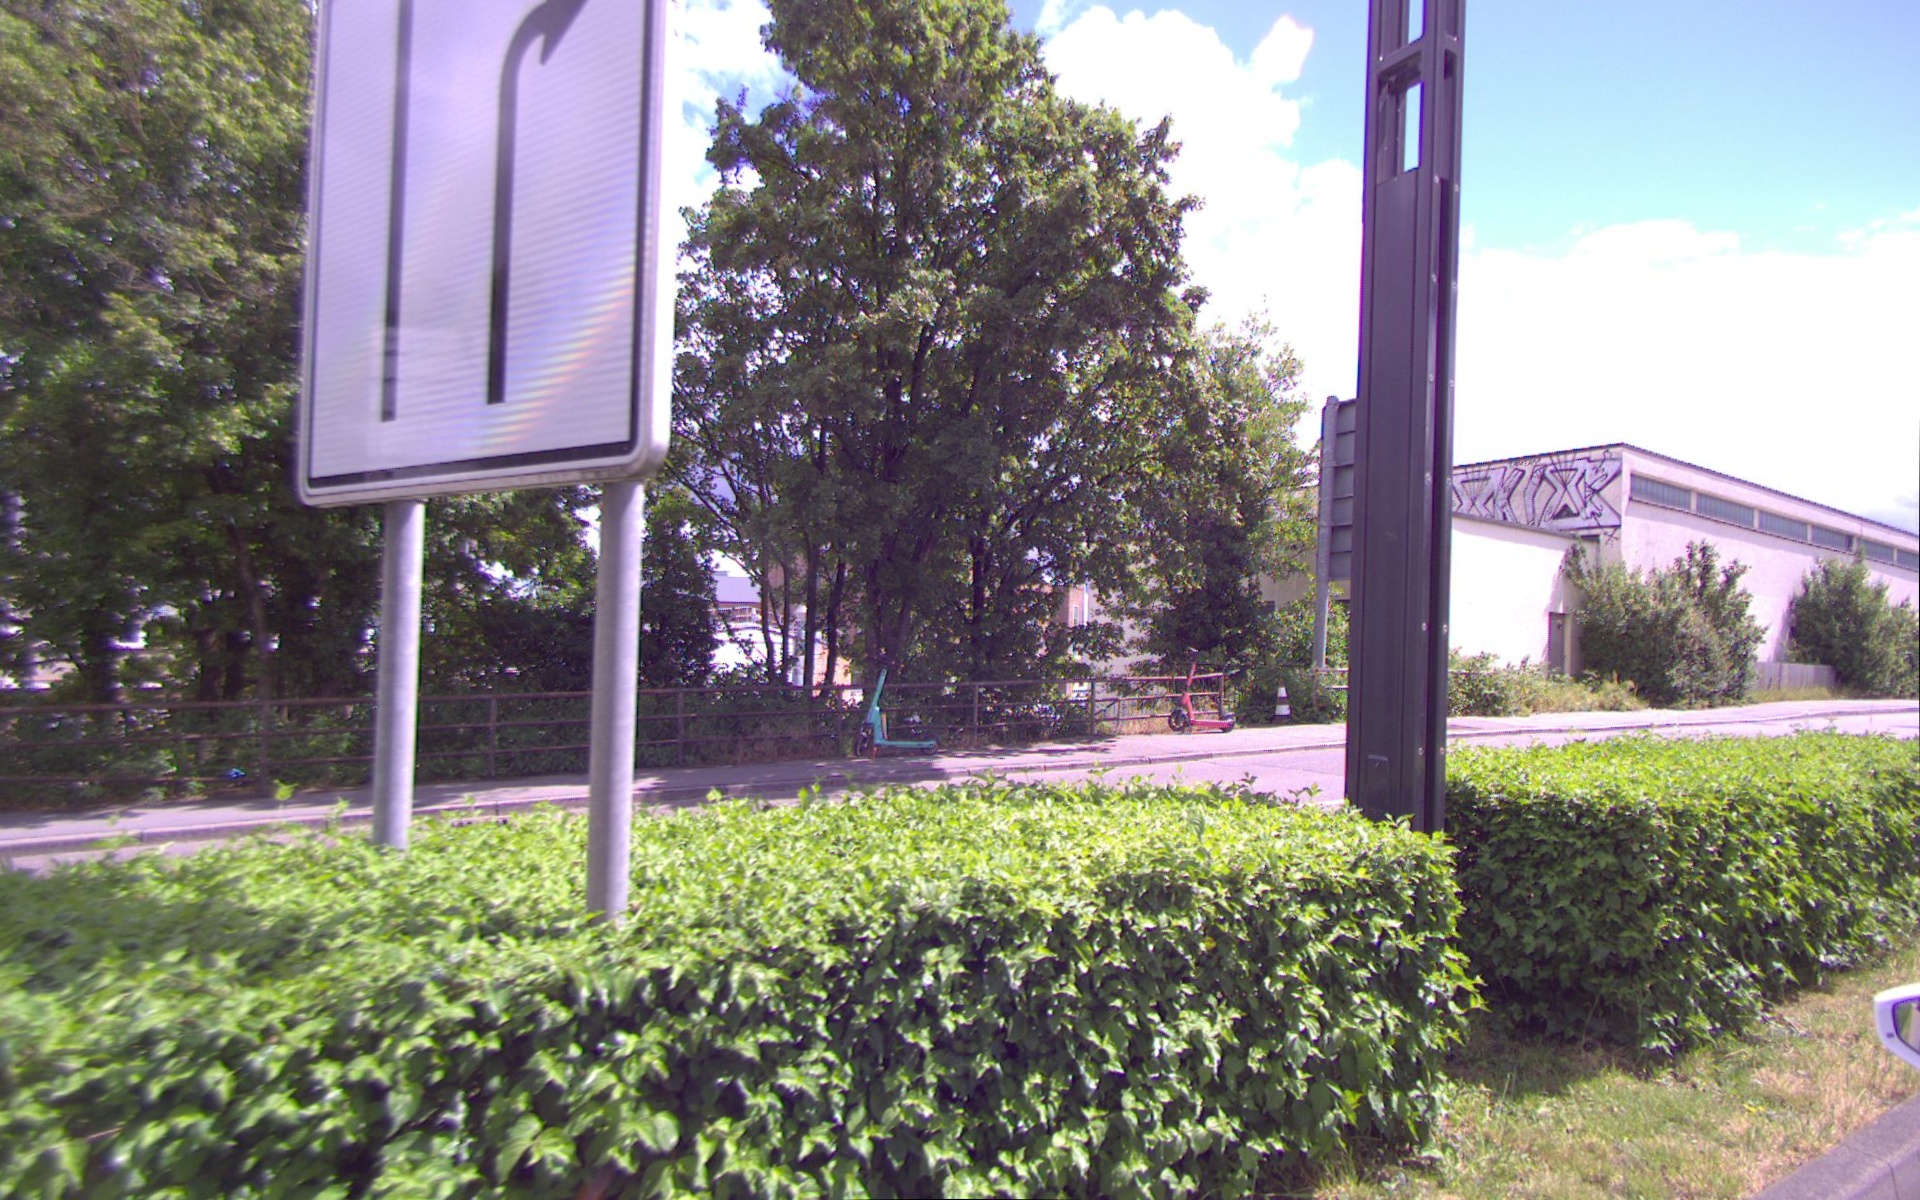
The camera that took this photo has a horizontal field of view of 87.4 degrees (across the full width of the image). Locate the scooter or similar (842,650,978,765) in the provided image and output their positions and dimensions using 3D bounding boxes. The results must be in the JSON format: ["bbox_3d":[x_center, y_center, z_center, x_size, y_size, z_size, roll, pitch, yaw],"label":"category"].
[{"bbox_3d":[-0.606,1.288,12.408,1.622,1.322,0.489,1,0,-28],"label":"scooter or similar"}]

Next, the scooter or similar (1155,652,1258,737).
[{"bbox_3d":[3.774,1.417,15.359,1.622,1.232,0.489,1,-2,-28],"label":"scooter or similar"}]
